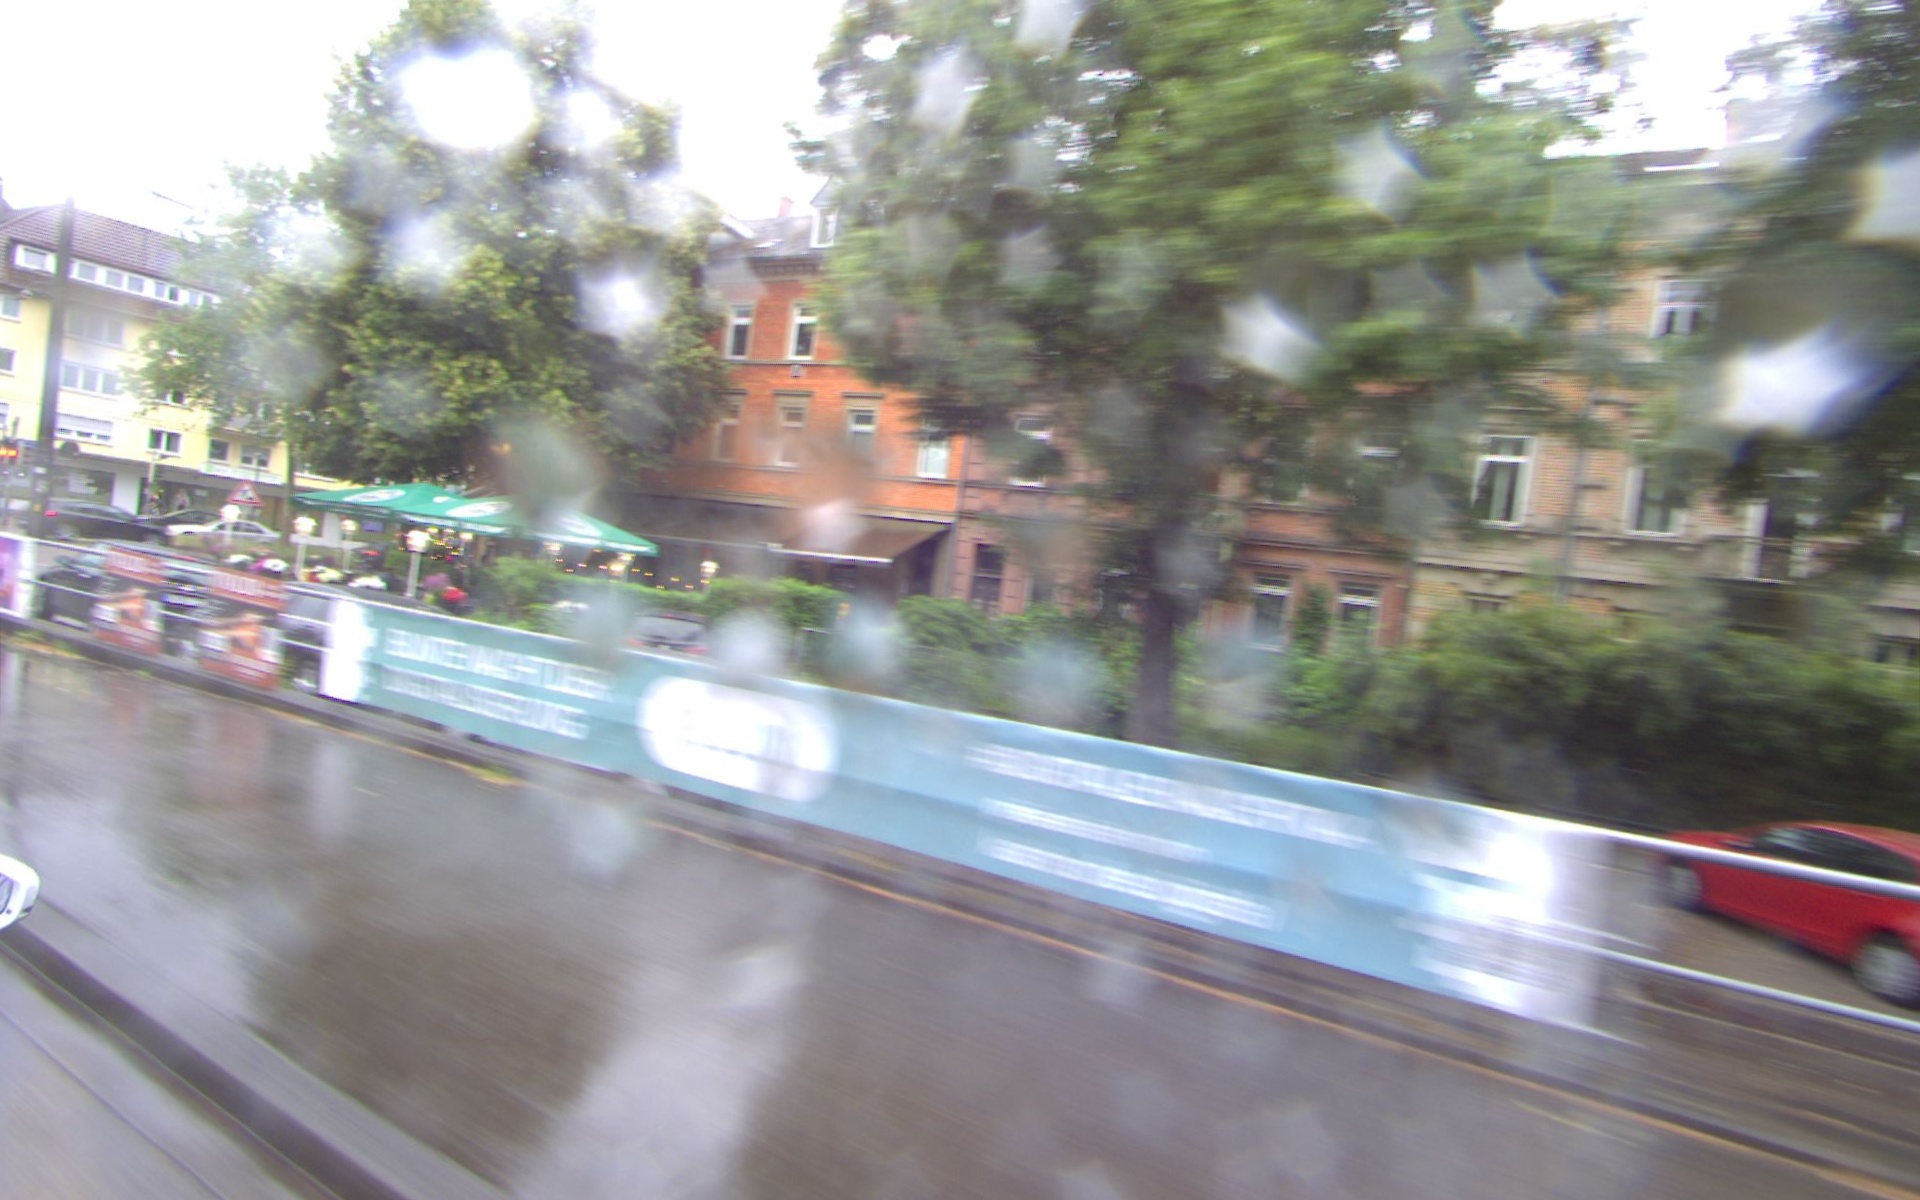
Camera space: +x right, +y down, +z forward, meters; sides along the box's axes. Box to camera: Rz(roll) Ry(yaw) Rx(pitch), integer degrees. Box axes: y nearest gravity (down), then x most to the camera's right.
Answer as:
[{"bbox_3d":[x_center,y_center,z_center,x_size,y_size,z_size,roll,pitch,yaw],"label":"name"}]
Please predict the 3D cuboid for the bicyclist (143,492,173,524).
[{"bbox_3d":[-44.518,-5.113,55.850,0.924,1.566,1.064,7,-1,42],"label":"bicyclist"}]

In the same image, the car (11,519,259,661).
[{"bbox_3d":[-12.220,-0.162,14.876,3.467,1.457,1.710,8,-3,33],"label":"car"}]

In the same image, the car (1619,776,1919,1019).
[{"bbox_3d":[9.499,3.114,10.669,1.864,1.471,4.429,8,0,-1],"label":"car"}]

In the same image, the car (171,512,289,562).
[{"bbox_3d":[-31.982,-2.728,44.127,3.927,1.508,1.784,9,0,-43],"label":"car"}]

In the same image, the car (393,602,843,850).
[{"bbox_3d":[-3.352,1.083,9.717,4.005,1.557,1.736,7,-2,29],"label":"car"}]

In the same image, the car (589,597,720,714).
[{"bbox_3d":[-5.928,0.978,19.266,1.972,1.733,3.983,8,-1,-20],"label":"car"}]

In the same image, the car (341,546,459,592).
[{"bbox_3d":[-24.305,-1.328,43.709,1.973,1.347,3.982,7,-2,42],"label":"car"}]

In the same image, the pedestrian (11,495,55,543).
[{"bbox_3d":[-35.344,-3.077,38.364,0.898,1.689,1.011,8,-1,-32],"label":"pedestrian"}]

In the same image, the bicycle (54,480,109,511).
[{"bbox_3d":[-47.846,-5.691,54.803,2.096,1.277,0.525,9,0,-45],"label":"bicycle"}]

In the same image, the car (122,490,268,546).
[{"bbox_3d":[-34.617,-3.654,45.626,1.974,1.661,4.930,3,-4,43],"label":"car"}]

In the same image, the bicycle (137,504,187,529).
[{"bbox_3d":[-44.414,-4.641,56.001,0.650,1.039,2.014,7,-2,43],"label":"bicycle"}]

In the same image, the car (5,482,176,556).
[{"bbox_3d":[-30.626,-2.811,35.562,1.965,1.887,3.999,7,-2,26],"label":"car"}]

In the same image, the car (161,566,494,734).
[{"bbox_3d":[-7.651,0.558,12.093,3.906,1.416,1.706,7,-1,31],"label":"car"}]
